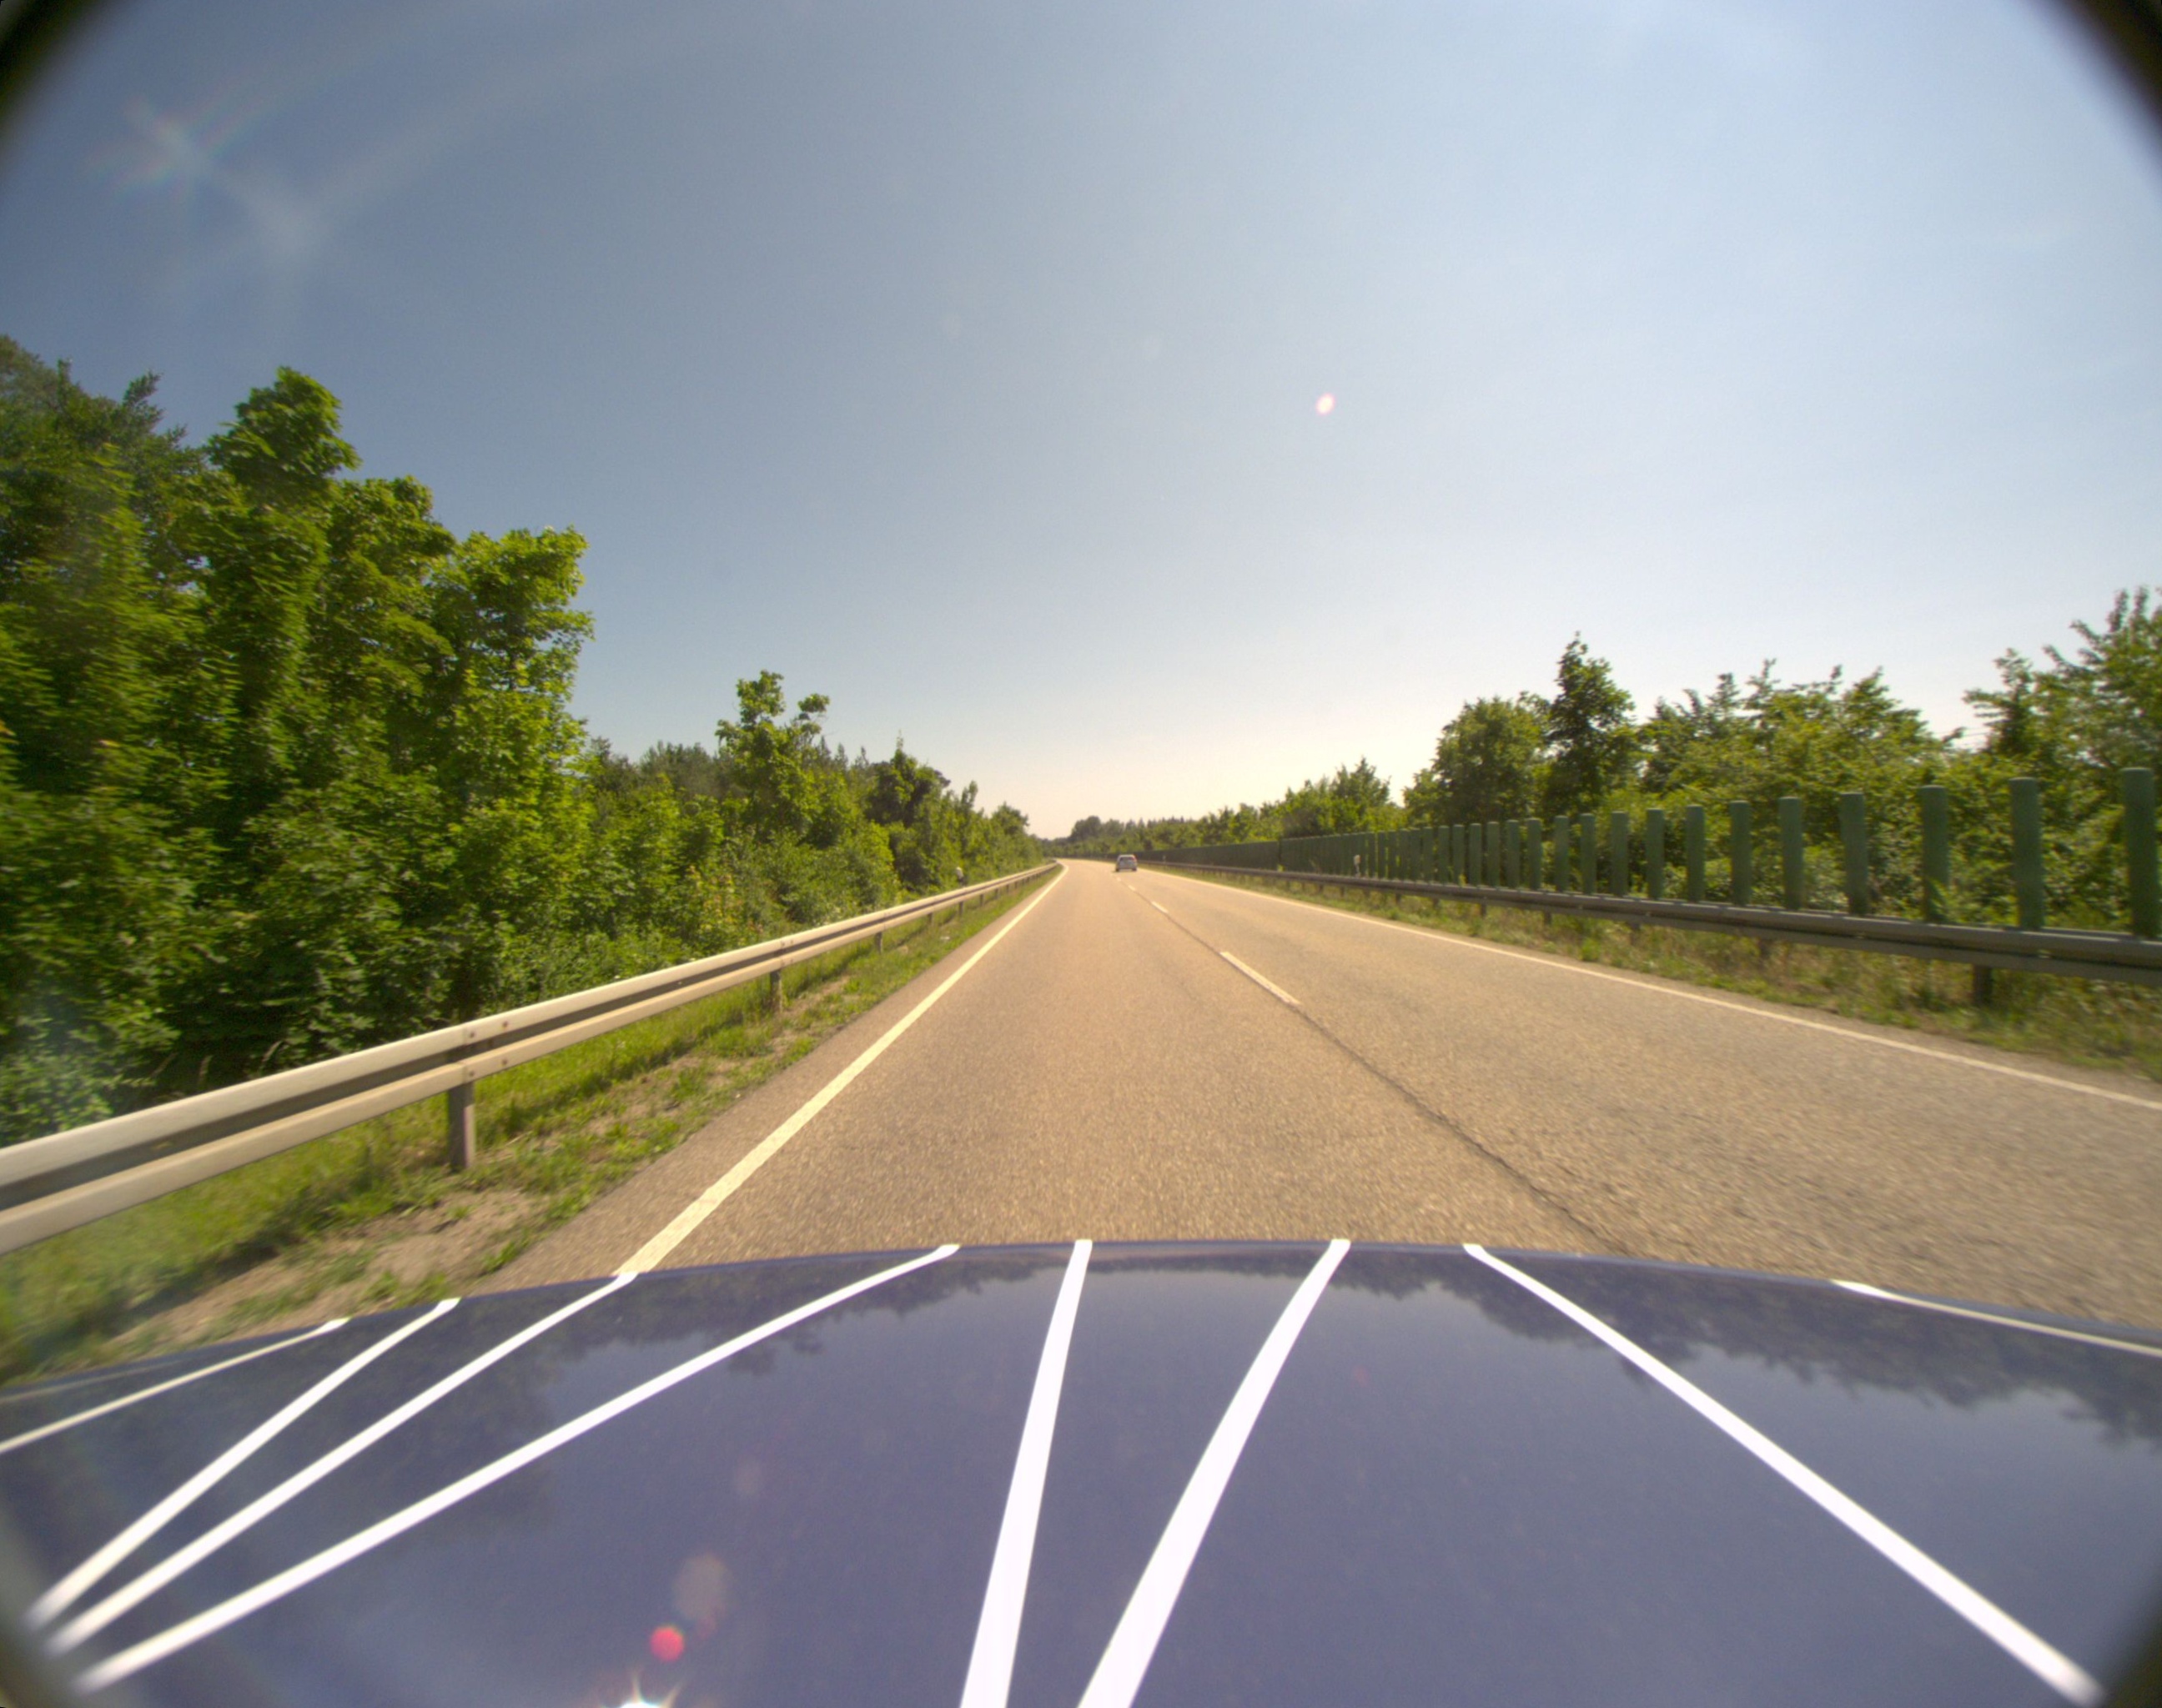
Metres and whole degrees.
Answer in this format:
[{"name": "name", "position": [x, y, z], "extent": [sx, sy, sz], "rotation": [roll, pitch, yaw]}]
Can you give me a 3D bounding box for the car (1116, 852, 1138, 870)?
[{"name": "car", "position": [4.142, 0.604, 68.483], "extent": [1.724, 1.492, 4.248], "rotation": [-2, 0, 0]}]
